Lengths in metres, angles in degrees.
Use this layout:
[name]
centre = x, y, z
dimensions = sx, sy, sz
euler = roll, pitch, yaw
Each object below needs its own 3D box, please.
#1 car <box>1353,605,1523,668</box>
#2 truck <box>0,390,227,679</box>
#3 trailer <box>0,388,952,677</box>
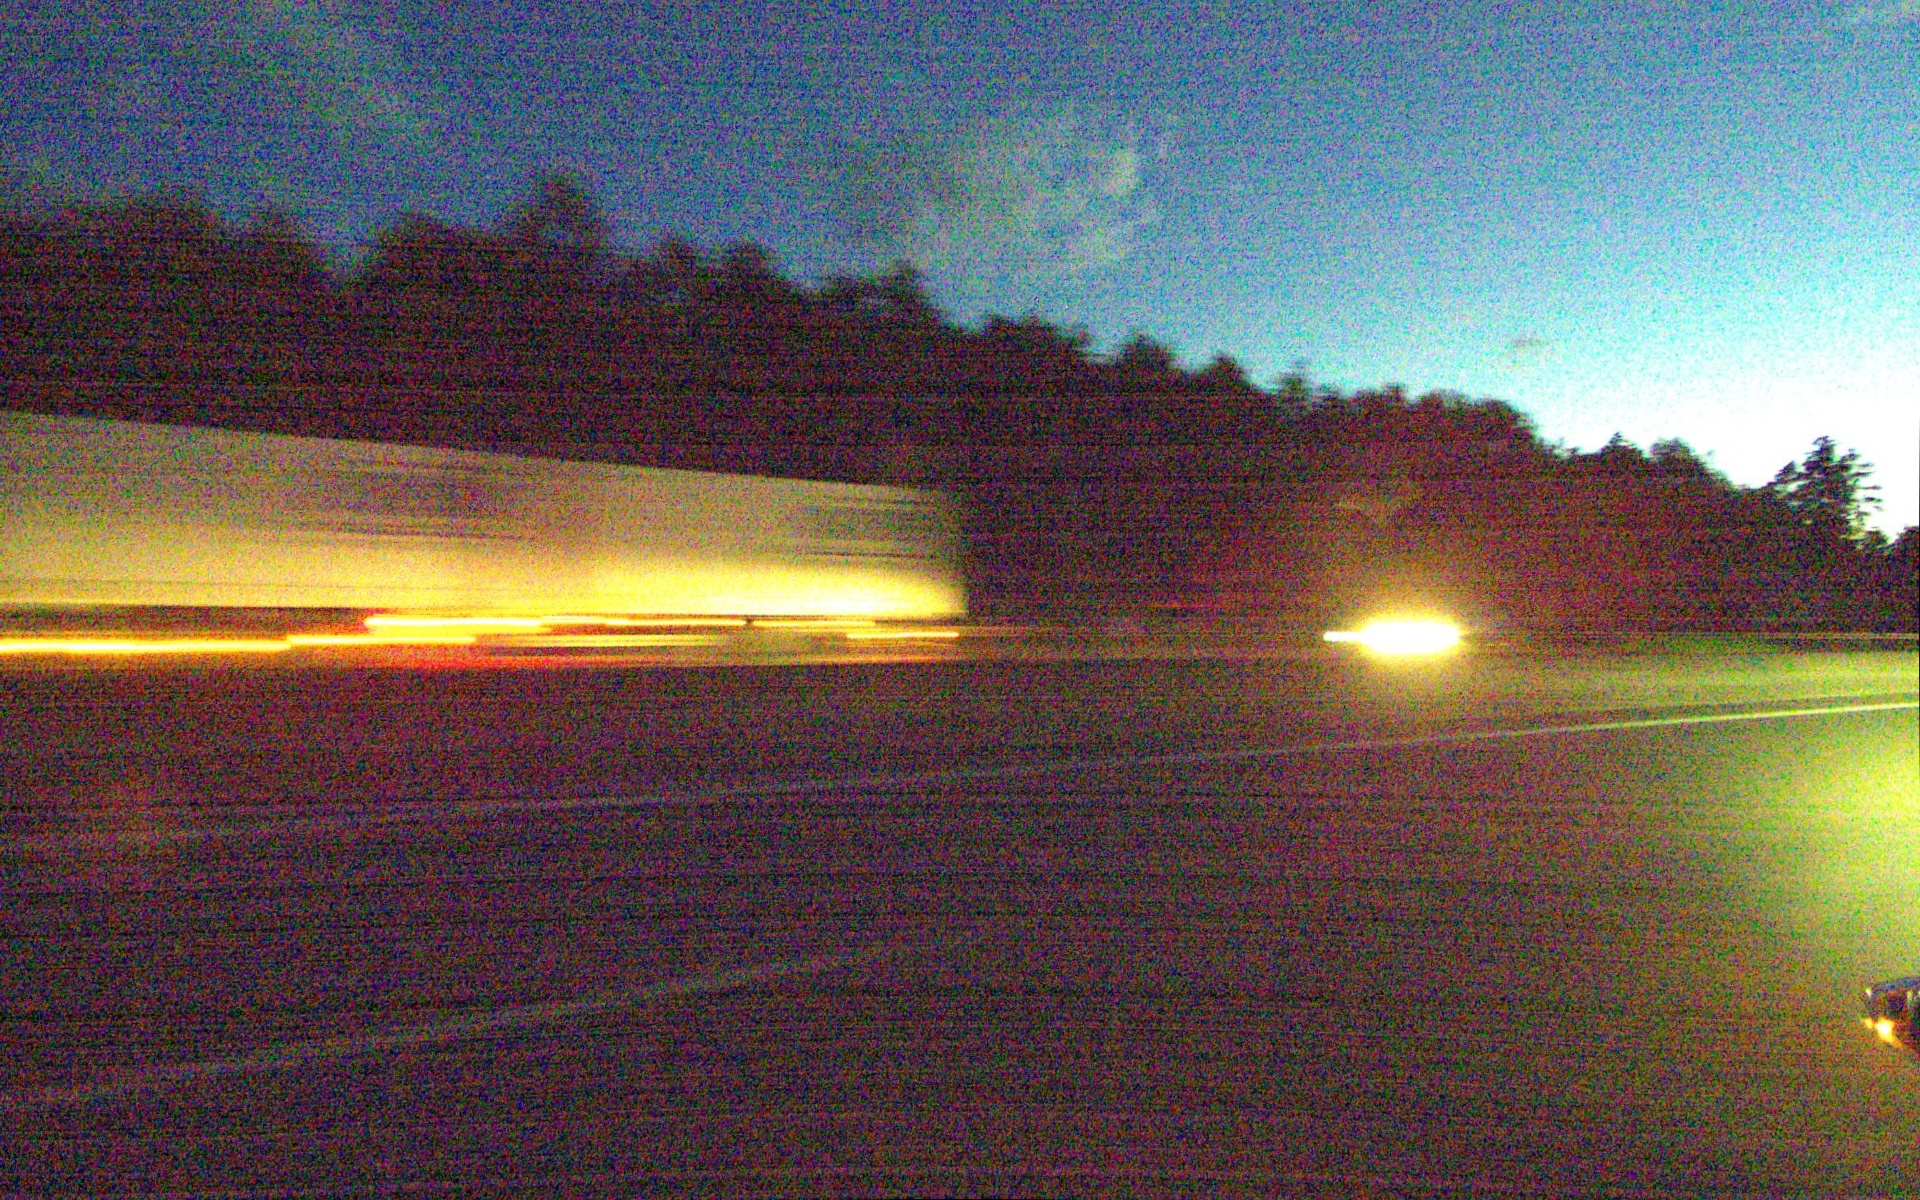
[car]
centre = 13.210, 1.012, 27.731
dimensions = 4.529, 1.601, 1.985
euler = 2, -1, -29
[truck]
centre = -15.157, -0.975, 15.824
dimensions = 5.353, 4.254, 2.703
euler = 2, -1, -28
[trailer]
centre = -8.318, -0.758, 19.650
dimensions = 17.042, 4.273, 2.677
euler = 2, -1, -29
